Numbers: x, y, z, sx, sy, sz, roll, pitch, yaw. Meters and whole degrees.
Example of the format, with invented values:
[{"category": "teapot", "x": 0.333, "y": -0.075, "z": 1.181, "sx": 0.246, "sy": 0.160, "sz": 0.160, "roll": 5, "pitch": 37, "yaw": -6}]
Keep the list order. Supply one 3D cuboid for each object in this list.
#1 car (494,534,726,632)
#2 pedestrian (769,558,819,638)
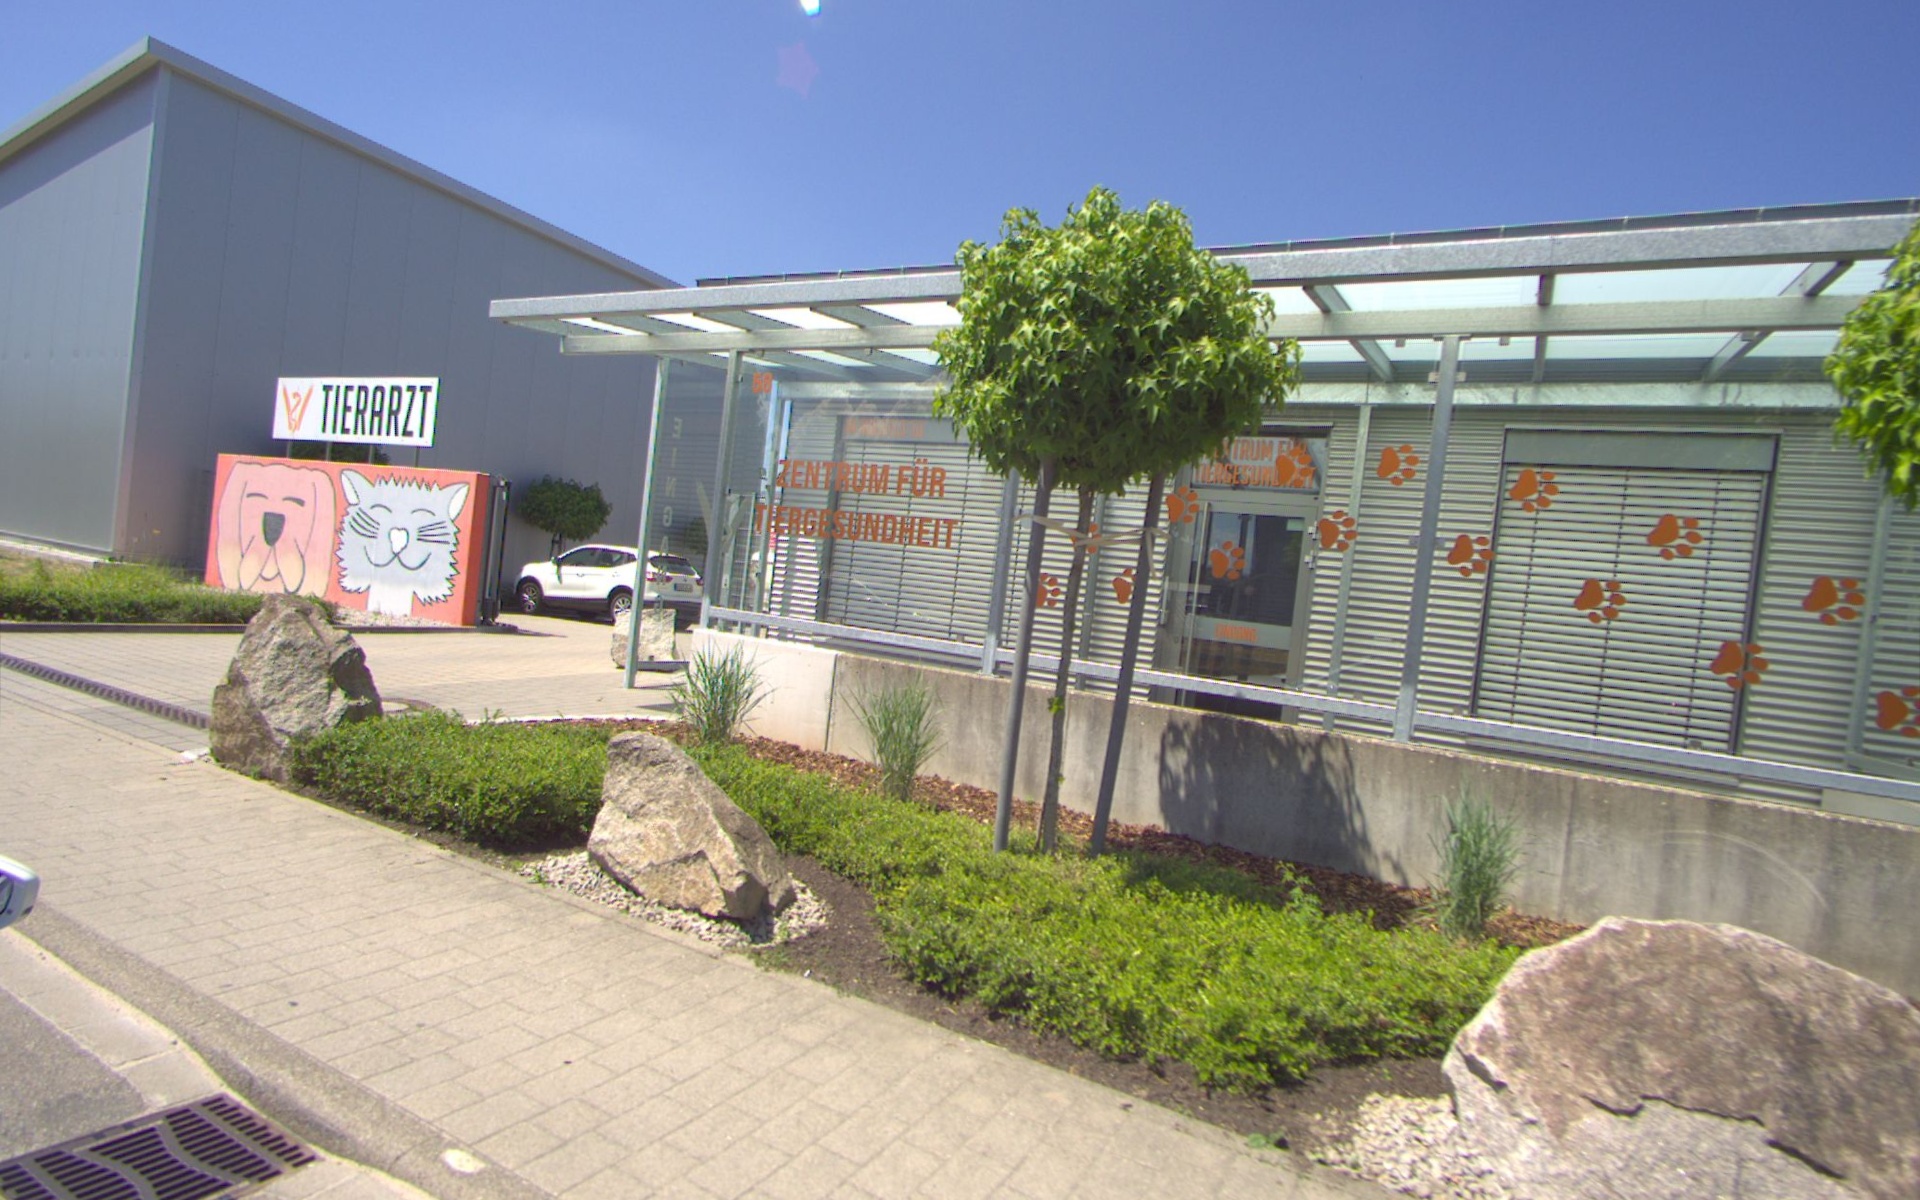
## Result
[{"category": "car", "x": -7.323, "y": -0.355, "z": 21.047, "sx": 4.273, "sy": 1.561, "sz": 1.999, "roll": 6, "pitch": -1, "yaw": 25}, {"category": "pedestrian", "x": -3.857, "y": -0.031, "z": 23.437, "sx": 0.760, "sy": 1.747, "sz": 0.700, "roll": 7, "pitch": 1, "yaw": 9}]
